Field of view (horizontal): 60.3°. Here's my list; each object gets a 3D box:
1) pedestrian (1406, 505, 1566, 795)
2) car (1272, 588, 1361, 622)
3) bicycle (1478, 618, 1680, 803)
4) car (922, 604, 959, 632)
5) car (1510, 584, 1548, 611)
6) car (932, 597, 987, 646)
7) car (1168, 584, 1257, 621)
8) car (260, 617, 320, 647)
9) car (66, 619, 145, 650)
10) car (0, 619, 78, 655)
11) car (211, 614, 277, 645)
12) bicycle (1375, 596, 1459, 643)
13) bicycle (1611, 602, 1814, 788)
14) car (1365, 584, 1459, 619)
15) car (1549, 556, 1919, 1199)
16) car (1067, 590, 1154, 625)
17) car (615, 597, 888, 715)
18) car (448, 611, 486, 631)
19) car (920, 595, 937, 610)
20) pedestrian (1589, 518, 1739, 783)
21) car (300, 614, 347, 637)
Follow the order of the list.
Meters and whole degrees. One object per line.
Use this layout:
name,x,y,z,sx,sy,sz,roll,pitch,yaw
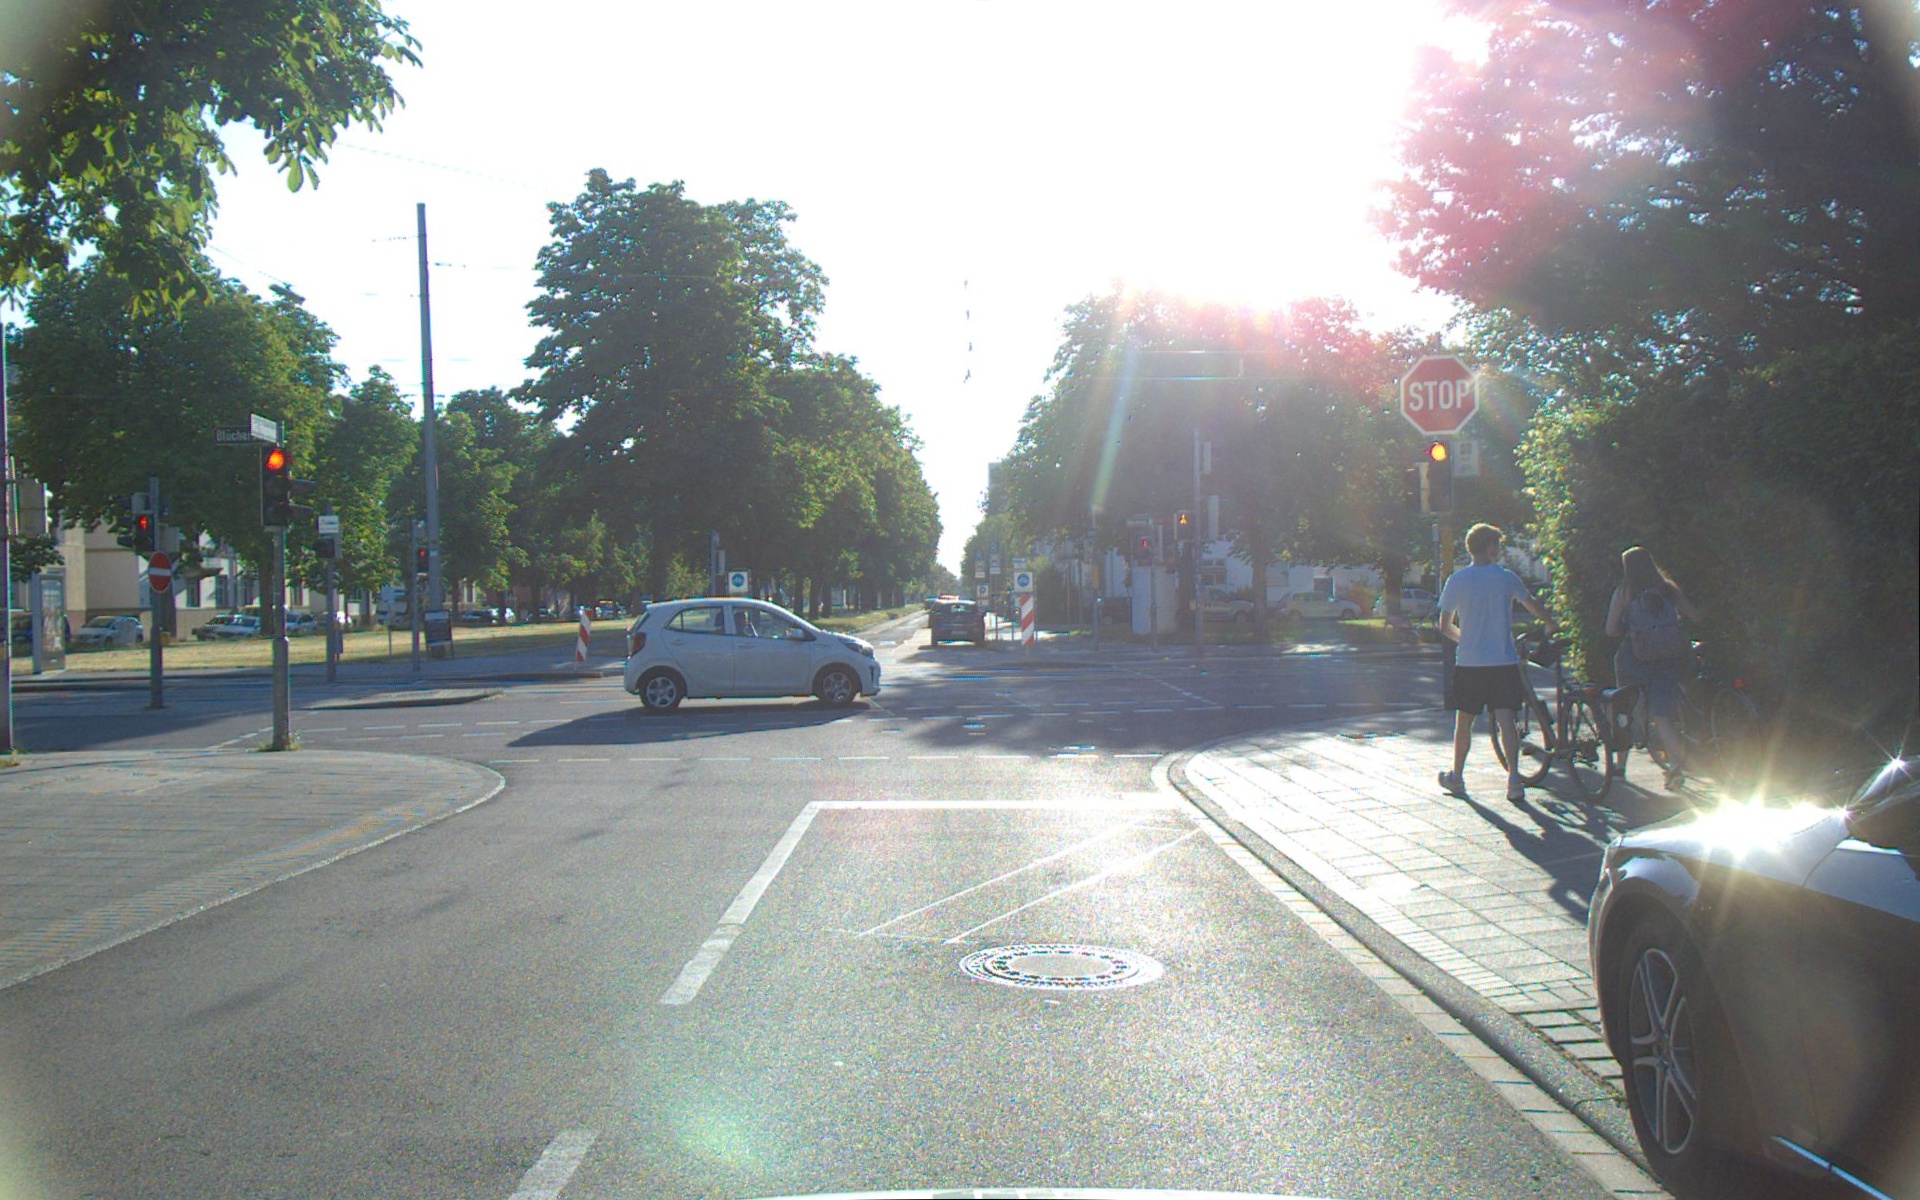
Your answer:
pedestrian,3.633,0.330,11.486,0.657,1.897,0.880,-4,0,-6
car,15.931,0.218,73.974,3.591,1.452,1.530,-1,0,-4
bicycle,4.186,0.705,11.325,0.477,1.116,1.788,-4,0,-6
car,-1.011,0.941,86.969,1.807,1.418,3.829,0,0,1
car,31.745,-0.151,92.237,1.631,1.442,3.540,-1,0,25
car,0.004,0.668,52.980,1.607,1.476,3.308,-1,0,2
car,11.292,0.103,74.150,3.702,1.552,1.744,-1,1,0
car,-37.012,1.745,91.437,1.702,1.452,3.793,-1,1,0
car,-42.500,1.689,82.327,1.701,1.452,3.795,0,0,6
car,-42.468,1.688,75.847,1.701,1.422,3.795,-1,1,6
car,-36.918,1.505,85.330,1.702,1.452,3.792,-1,0,0
bicycle,11.505,0.485,41.655,1.913,1.152,0.620,-1,0,2
bicycle,5.144,0.611,11.409,0.477,1.162,1.596,-3,0,-6
car,20.365,0.067,74.637,3.770,1.452,1.596,-1,0,-4
car,2.713,0.683,2.409,1.821,1.569,4.871,-1,0,-2
car,6.708,0.318,73.937,3.702,1.452,1.744,-1,1,0
car,-2.921,0.739,22.995,3.621,1.514,1.736,-1,0,-12
car,-37.660,1.589,126.384,1.702,1.452,3.792,-1,0,0
car,-4.237,0.301,224.408,2.090,2.049,3.902,-1,0,1
pedestrian,4.828,0.334,11.375,0.656,1.738,0.622,-3,0,-6
car,-43.284,1.723,112.598,1.702,1.452,3.792,-1,0,0
